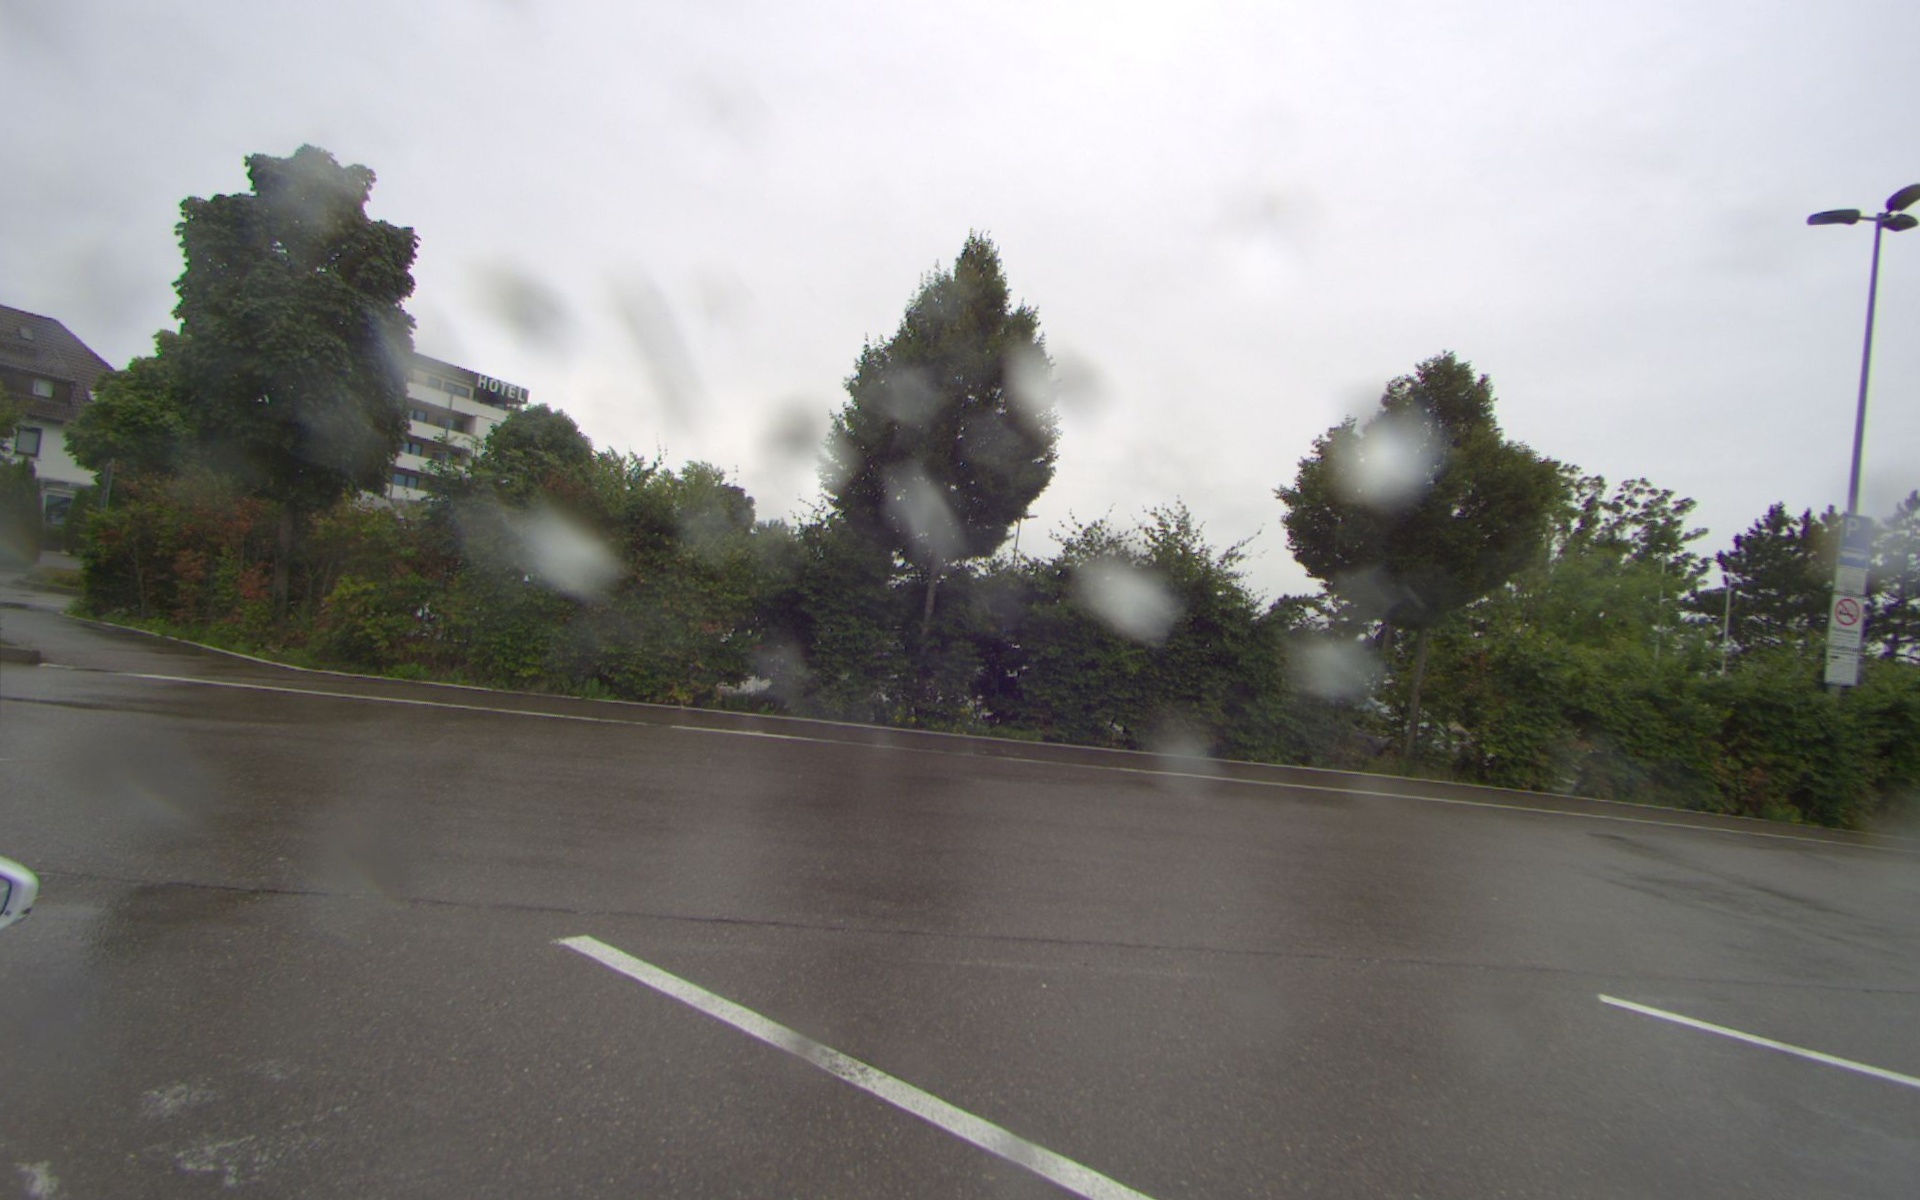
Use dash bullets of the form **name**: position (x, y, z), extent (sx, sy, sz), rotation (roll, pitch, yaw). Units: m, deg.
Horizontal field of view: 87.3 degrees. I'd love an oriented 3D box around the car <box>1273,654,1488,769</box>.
- **car**: position (7.975, 2.063, 19.543), extent (1.757, 1.647, 4.088), rotation (7, -1, -11)
